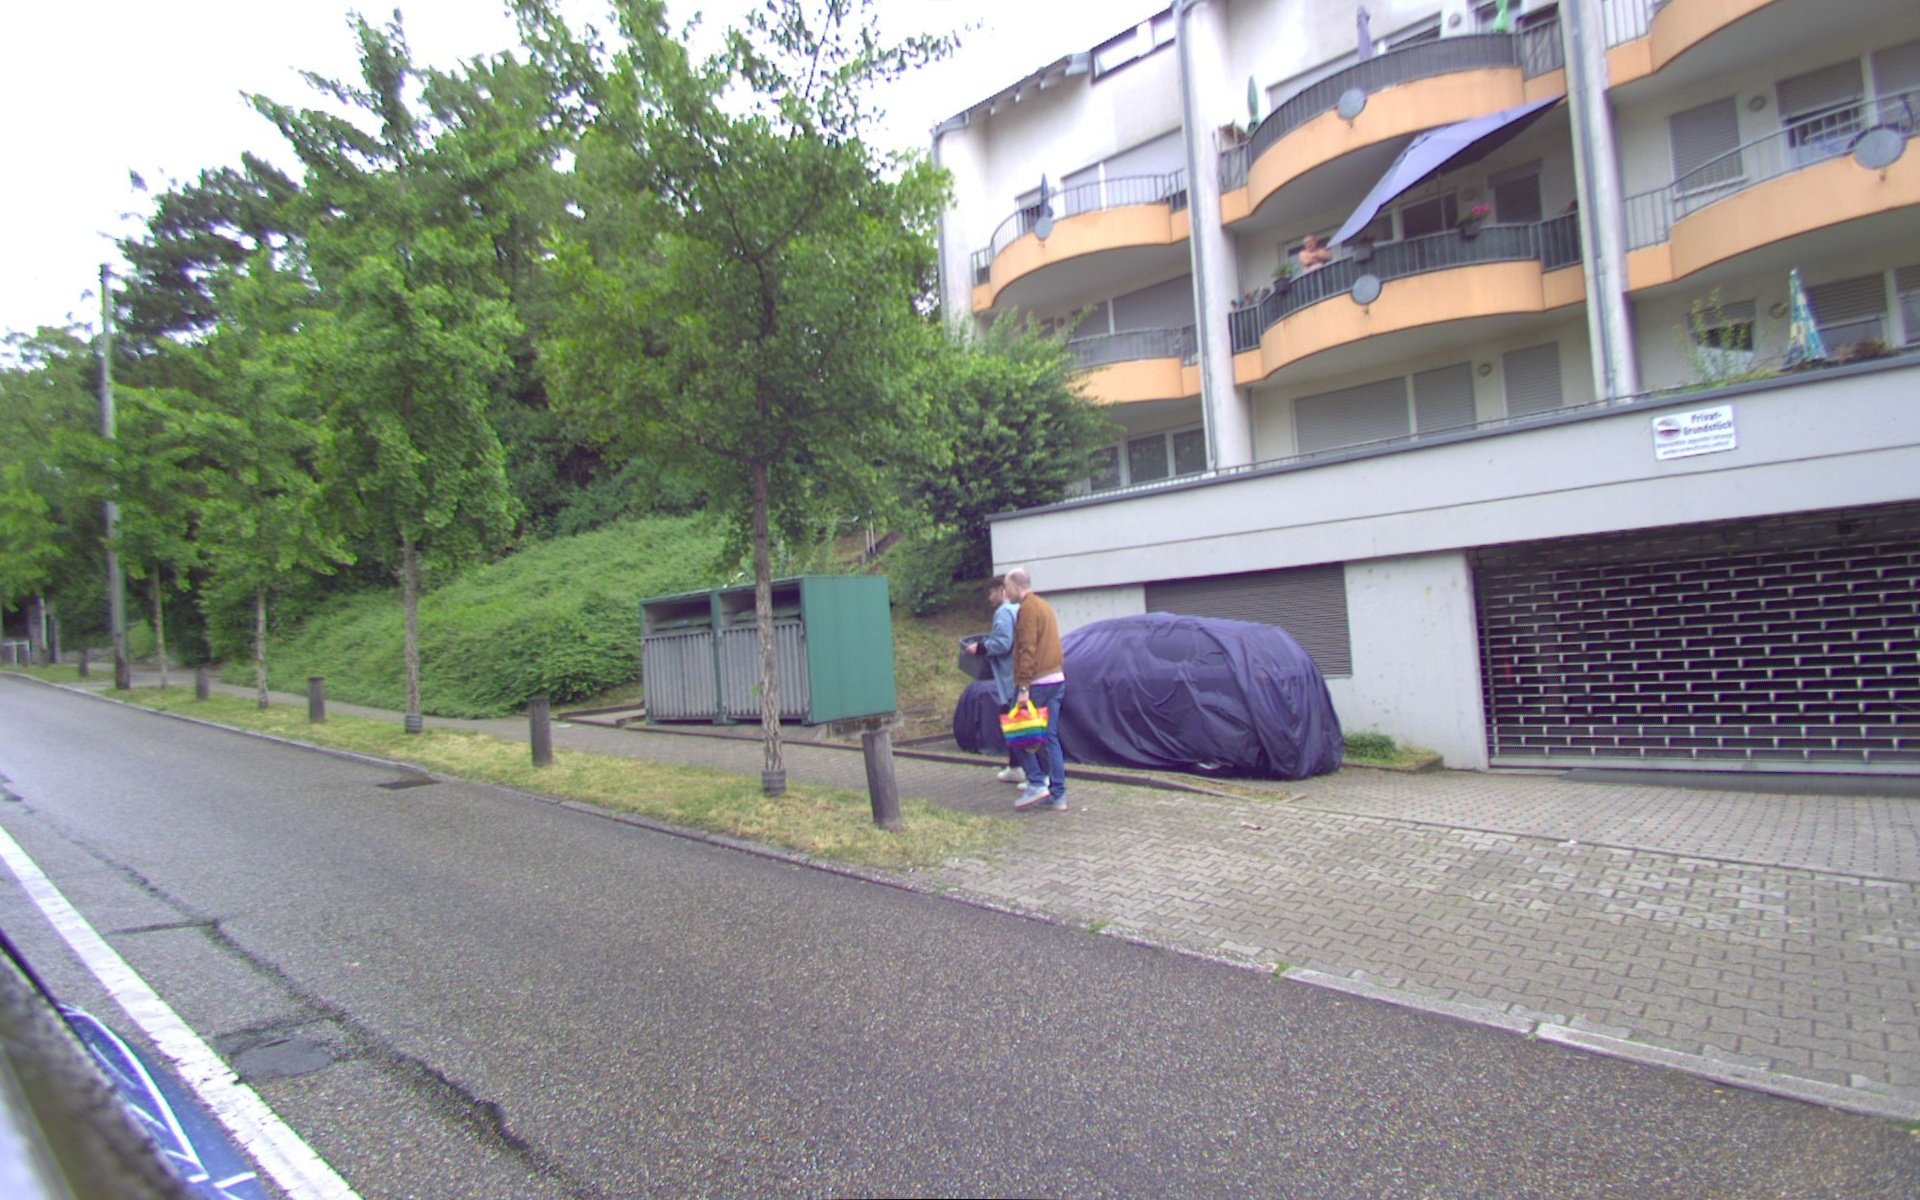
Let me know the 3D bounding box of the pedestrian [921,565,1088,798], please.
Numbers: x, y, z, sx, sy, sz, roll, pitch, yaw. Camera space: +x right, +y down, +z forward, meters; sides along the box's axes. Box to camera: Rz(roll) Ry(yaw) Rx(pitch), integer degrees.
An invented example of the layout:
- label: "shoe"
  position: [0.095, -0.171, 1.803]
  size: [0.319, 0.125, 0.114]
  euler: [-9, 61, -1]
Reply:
- label: "pedestrian"
  position: [0.373, 0.632, 8.517]
  size: [1.073, 1.795, 0.813]
  euler: [-1, 2, 42]

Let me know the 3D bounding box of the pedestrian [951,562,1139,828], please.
- label: "pedestrian"
  position: [0.632, 0.642, 7.531]
  size: [1.072, 1.795, 0.814]
  euler: [-1, 2, 40]

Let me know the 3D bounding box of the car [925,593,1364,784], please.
- label: "car"
  position: [1.748, 0.823, 10.354]
  size: [4.096, 1.573, 1.759]
  euler: [-2, -5, 41]
